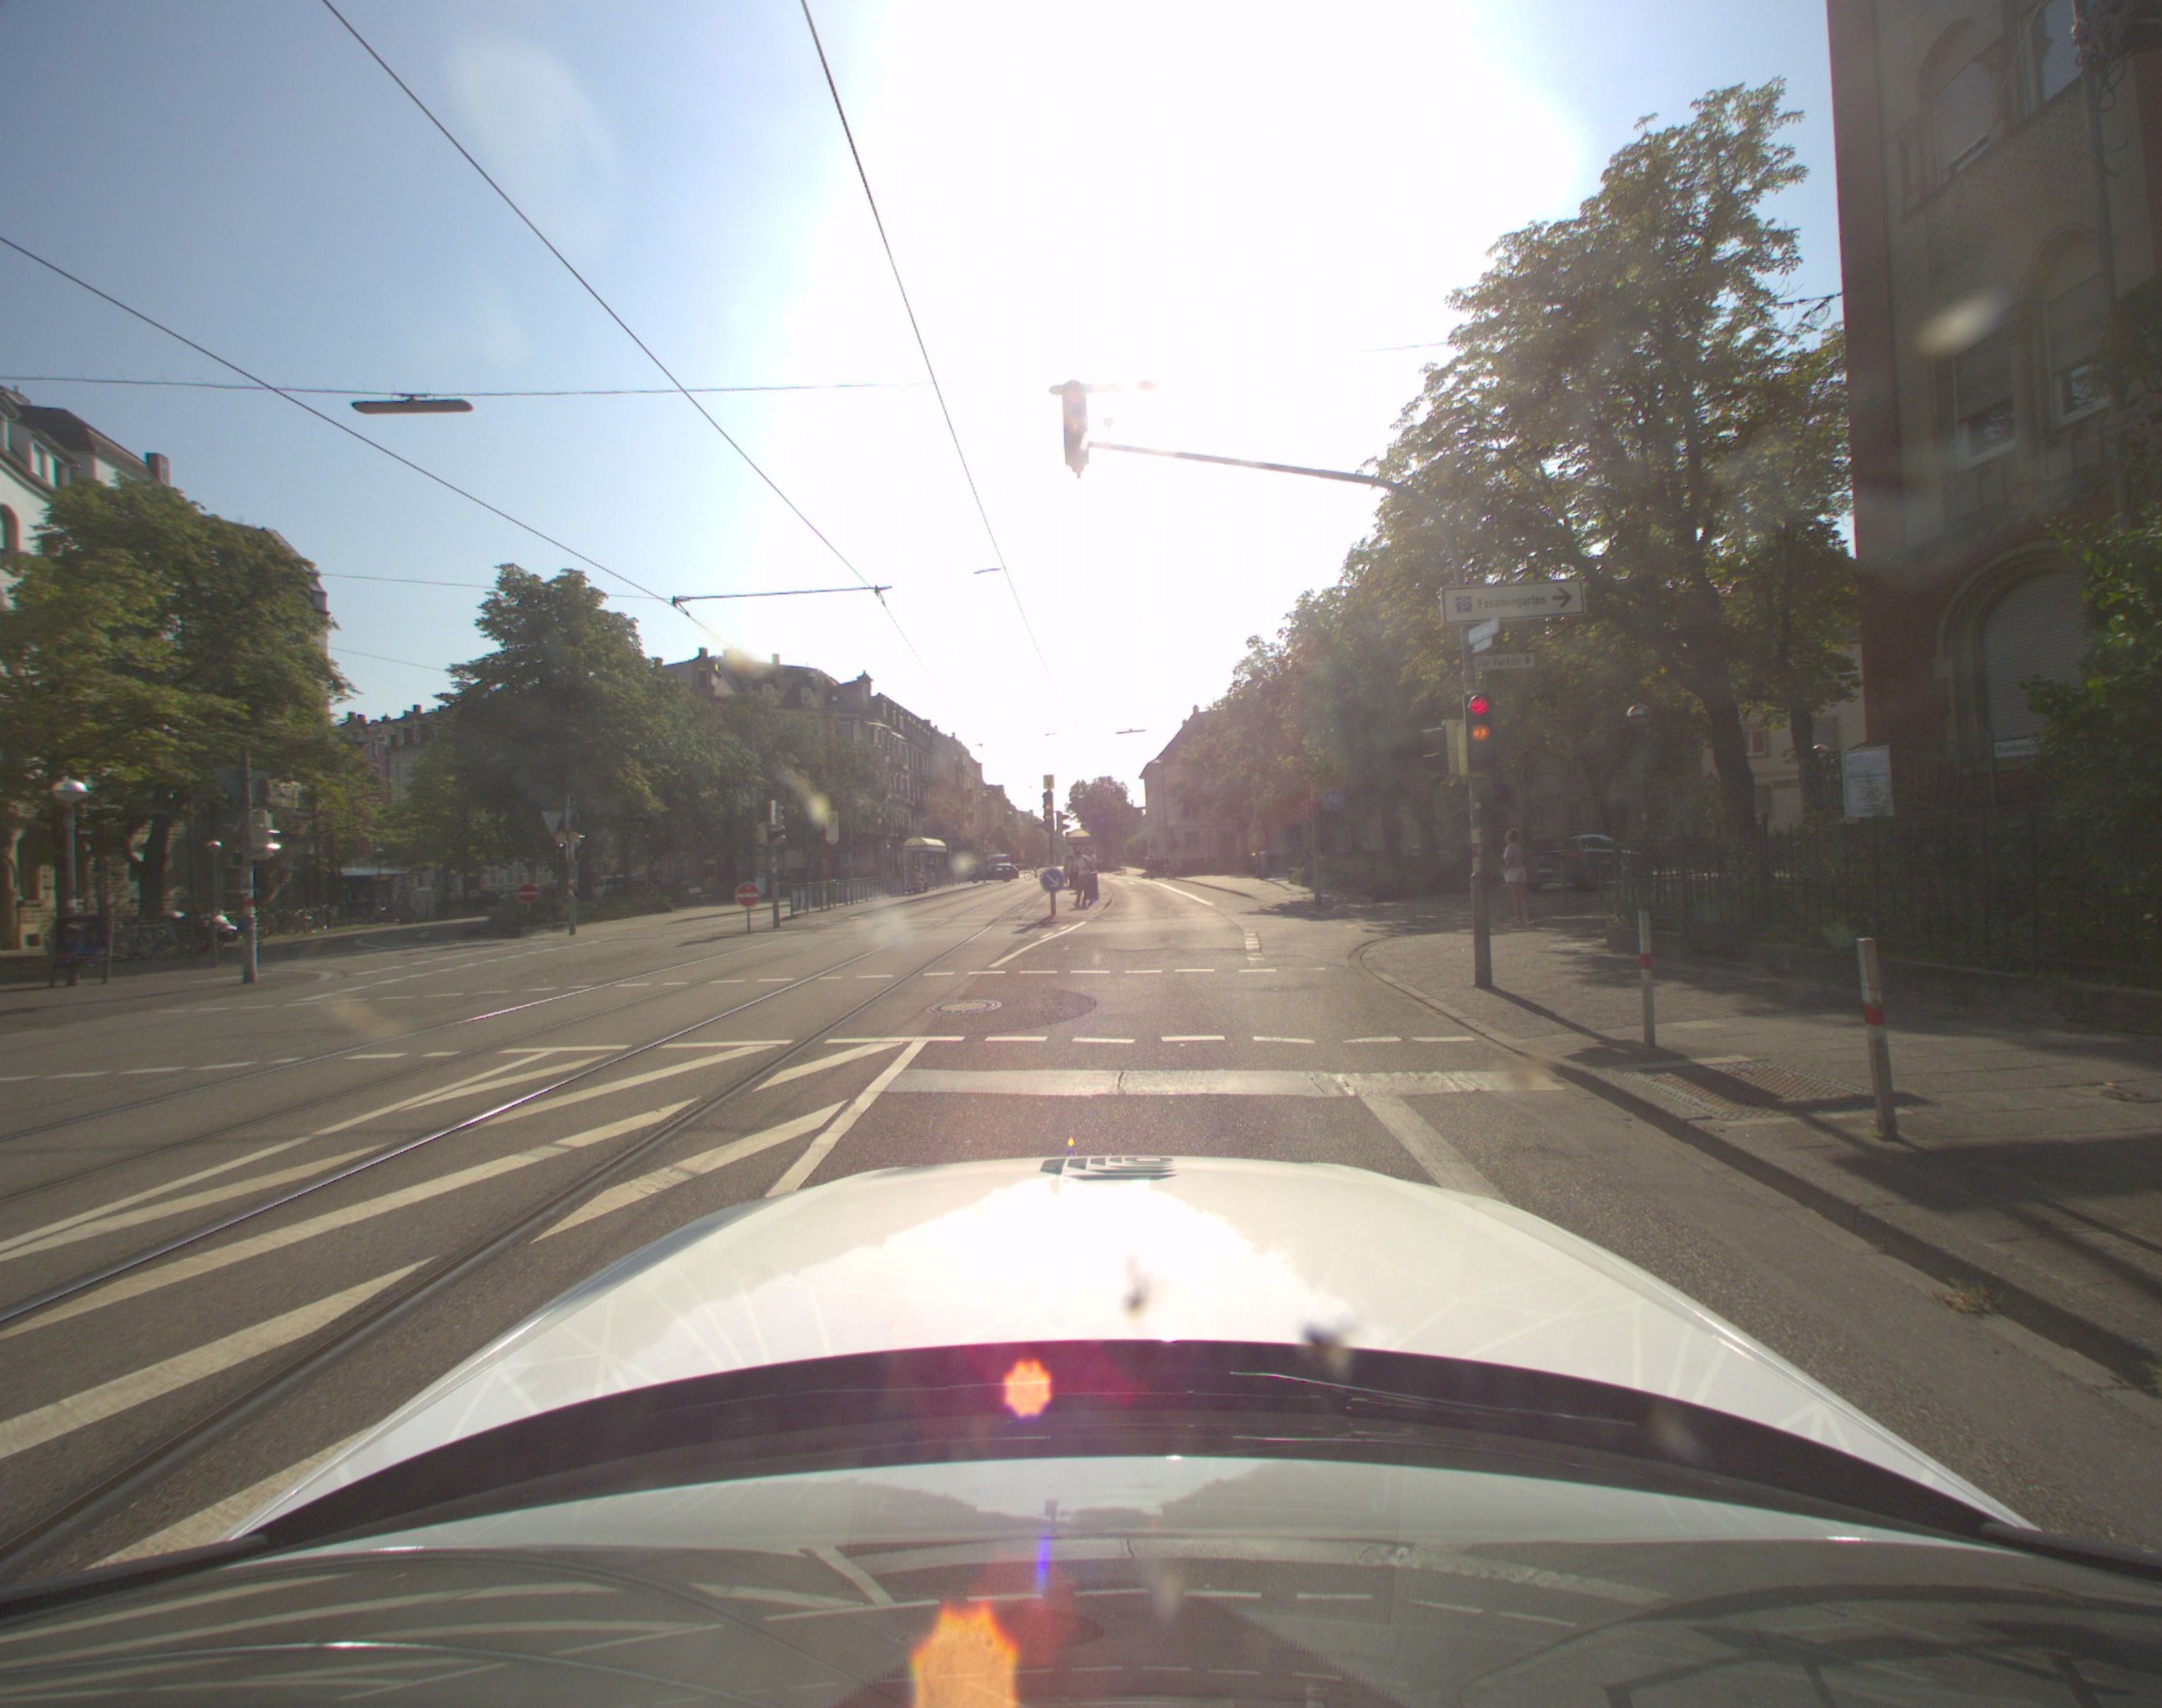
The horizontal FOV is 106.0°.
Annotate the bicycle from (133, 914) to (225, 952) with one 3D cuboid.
[{"bbox_3d":[-27.614,2.414,24.971,1.814,0.983,0.652,-1,-2,-40],"label":"bicycle"}]

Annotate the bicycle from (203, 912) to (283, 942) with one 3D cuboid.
[{"bbox_3d":[-30.835,2.660,29.989,1.919,0.935,0.730,-2,-1,-33],"label":"bicycle"}]

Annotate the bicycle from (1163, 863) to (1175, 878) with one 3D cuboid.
[{"bbox_3d":[6.165,1.169,56.942,0.556,0.978,1.856,-3,0,0],"label":"bicycle"}]

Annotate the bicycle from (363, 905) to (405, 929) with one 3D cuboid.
[{"bbox_3d":[-33.274,2.993,38.920,0.423,0.978,1.770,-3,0,1],"label":"bicycle"}]

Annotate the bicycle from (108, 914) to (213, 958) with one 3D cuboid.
[{"bbox_3d":[-25.921,2.293,22.979,1.887,1.034,0.563,-2,-2,-38],"label":"bicycle"}]

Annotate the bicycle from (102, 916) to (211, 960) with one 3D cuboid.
[{"bbox_3d":[-24.873,2.242,21.940,0.562,1.003,1.890,-3,-1,37],"label":"bicycle"}]

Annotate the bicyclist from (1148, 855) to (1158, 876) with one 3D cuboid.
[{"bbox_3d":[5.271,0.862,59.628,0.627,1.507,0.678,-3,-1,-1],"label":"bicyclist"}]

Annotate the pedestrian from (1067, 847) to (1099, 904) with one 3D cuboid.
[{"bbox_3d":[0.064,0.652,25.661,0.693,1.725,0.753,1,2,34],"label":"pedestrian"}]

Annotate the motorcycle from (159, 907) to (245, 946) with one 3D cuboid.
[{"bbox_3d":[-29.973,2.454,27.806,1.882,1.154,0.601,-2,-1,-33],"label":"motorcycle"}]

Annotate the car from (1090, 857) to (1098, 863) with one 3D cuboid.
[{"bbox_3d":[3.986,1.839,257.578,1.982,1.783,4.009,-2,-1,8],"label":"car"}]

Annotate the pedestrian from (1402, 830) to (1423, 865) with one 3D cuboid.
[{"bbox_3d":[16.924,-0.327,41.591,0.883,1.740,0.780,-3,-1,20],"label":"pedestrian"}]

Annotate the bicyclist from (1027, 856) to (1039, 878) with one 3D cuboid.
[{"bbox_3d":[-4.197,1.145,71.231,0.984,1.857,0.493,-3,-1,-2],"label":"bicyclist"}]

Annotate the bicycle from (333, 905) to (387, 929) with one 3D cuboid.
[{"bbox_3d":[-34.507,3.027,38.996,1.772,0.978,0.601,-3,0,-22],"label":"bicycle"}]

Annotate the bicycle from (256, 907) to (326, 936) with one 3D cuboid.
[{"bbox_3d":[-31.745,2.698,32.766,1.908,0.980,0.679,-2,-1,-33],"label":"bicycle"}]

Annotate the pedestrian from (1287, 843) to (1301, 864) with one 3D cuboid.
[{"bbox_3d":[18.279,-0.022,69.943,0.882,1.740,0.781,-3,-1,34],"label":"pedestrian"}]

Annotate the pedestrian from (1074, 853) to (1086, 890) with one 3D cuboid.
[{"bbox_3d":[-0.036,0.861,39.451,0.541,1.759,0.534,0,2,1],"label":"pedestrian"}]

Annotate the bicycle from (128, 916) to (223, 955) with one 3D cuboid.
[{"bbox_3d":[-26.768,2.392,24.122,1.814,0.984,0.563,-1,-2,-40],"label":"bicycle"}]

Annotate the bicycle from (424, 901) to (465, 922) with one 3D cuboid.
[{"bbox_3d":[-33.479,3.034,42.827,1.754,0.978,0.607,-3,-1,8],"label":"bicycle"}]

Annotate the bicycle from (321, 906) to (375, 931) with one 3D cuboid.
[{"bbox_3d":[-34.389,3.022,38.218,1.771,0.978,0.516,-3,-1,-21],"label":"bicycle"}]

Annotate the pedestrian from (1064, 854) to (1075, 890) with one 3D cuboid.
[{"bbox_3d":[-0.563,0.890,40.878,0.530,1.759,0.545,0,2,2],"label":"pedestrian"}]

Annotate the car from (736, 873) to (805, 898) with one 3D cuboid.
[{"bbox_3d":[-22.904,2.310,60.160,4.359,1.569,1.976,-2,-1,-41],"label":"car"}]

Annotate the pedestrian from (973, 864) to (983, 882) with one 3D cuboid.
[{"bbox_3d":[-10.534,1.932,83.383,0.747,1.731,0.772,-3,-1,3],"label":"pedestrian"}]

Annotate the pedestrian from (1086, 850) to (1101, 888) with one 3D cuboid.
[{"bbox_3d":[0.596,0.715,38.823,0.706,1.759,0.534,0,2,1],"label":"pedestrian"}]

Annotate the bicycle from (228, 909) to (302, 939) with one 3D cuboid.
[{"bbox_3d":[-31.419,2.676,31.400,1.908,0.980,0.679,-2,-1,-33],"label":"bicycle"}]

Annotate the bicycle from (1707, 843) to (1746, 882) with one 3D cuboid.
[{"bbox_3d":[17.776,0.229,22.405,1.779,0.978,0.421,-3,-1,-39],"label":"bicycle"}]

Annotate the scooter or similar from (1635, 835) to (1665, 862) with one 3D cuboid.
[{"bbox_3d":[27.481,-0.267,39.362,1.059,1.197,0.463,-7,-1,33],"label":"scooter or similar"}]

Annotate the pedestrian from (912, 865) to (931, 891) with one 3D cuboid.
[{"bbox_3d":[-8.475,1.284,43.391,0.826,1.359,0.775,-3,-1,-4],"label":"pedestrian"}]

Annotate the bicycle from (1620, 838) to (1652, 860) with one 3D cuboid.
[{"bbox_3d":[28.320,-0.259,41.559,1.555,1.038,0.423,-3,-1,-18],"label":"bicycle"}]

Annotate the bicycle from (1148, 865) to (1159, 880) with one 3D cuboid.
[{"bbox_3d":[5.289,1.352,59.625,0.627,0.978,1.770,-3,0,0],"label":"bicycle"}]

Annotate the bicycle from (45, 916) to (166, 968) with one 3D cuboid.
[{"bbox_3d":[-24.734,2.208,20.696,0.563,1.113,1.888,-3,-1,22],"label":"bicycle"}]

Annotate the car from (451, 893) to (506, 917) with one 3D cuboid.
[{"bbox_3d":[-51.419,4.366,69.512,3.952,1.828,2.011,-3,0,22],"label":"car"}]

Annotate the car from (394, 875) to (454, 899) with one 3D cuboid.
[{"bbox_3d":[-57.928,2.916,71.836,3.959,1.828,2.007,-3,0,13],"label":"car"}]

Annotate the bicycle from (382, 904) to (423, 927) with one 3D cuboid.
[{"bbox_3d":[-32.894,2.988,39.503,0.423,0.978,1.770,-3,0,1],"label":"bicycle"}]

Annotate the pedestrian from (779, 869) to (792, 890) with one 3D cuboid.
[{"bbox_3d":[-24.329,2.095,67.002,0.775,1.731,0.744,-2,-1,-37],"label":"pedestrian"}]

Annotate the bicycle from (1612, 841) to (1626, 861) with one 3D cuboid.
[{"bbox_3d":[27.395,-0.151,41.455,0.420,0.978,1.566,-3,-1,39],"label":"bicycle"}]

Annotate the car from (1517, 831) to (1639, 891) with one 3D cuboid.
[{"bbox_3d":[14.696,0.165,24.002,4.248,1.515,1.594,-3,0,-37],"label":"car"}]

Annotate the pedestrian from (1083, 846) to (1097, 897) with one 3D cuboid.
[{"bbox_3d":[0.324,0.633,29.924,0.502,1.834,0.534,0,2,1],"label":"pedestrian"}]

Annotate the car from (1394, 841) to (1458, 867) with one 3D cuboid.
[{"bbox_3d":[21.168,0.041,50.168,1.752,1.428,4.134,-3,0,-8],"label":"car"}]

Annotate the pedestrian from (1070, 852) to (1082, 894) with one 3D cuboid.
[{"bbox_3d":[-0.216,0.819,34.636,0.502,1.759,0.534,0,2,1],"label":"pedestrian"}]

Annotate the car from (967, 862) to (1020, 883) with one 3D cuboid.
[{"bbox_3d":[-7.389,1.558,68.409,4.322,1.569,1.993,-3,-1,-10],"label":"car"}]

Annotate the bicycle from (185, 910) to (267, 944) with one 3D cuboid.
[{"bbox_3d":[-30.258,2.573,28.860,1.885,1.027,0.657,-2,-1,-33],"label":"bicycle"}]

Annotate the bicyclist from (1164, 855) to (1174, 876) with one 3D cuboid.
[{"bbox_3d":[6.141,0.800,56.960,0.556,1.417,0.871,-3,0,-1],"label":"bicyclist"}]

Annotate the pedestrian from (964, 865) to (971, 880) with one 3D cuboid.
[{"bbox_3d":[-13.165,2.145,94.583,0.749,1.731,0.769,-3,-1,-8],"label":"pedestrian"}]

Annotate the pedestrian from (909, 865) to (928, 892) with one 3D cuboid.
[{"bbox_3d":[-8.473,1.274,42.414,0.826,1.359,0.775,-3,-1,-4],"label":"pedestrian"}]

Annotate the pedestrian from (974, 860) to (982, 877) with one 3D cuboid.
[{"bbox_3d":[-10.826,1.516,85.542,0.749,1.731,0.769,-3,-1,-8],"label":"pedestrian"}]

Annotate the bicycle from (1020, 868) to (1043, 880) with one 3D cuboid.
[{"bbox_3d":[-4.303,1.774,71.217,1.931,0.978,0.496,-3,-1,-2],"label":"bicycle"}]

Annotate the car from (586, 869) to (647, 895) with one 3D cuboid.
[{"bbox_3d":[-35.989,2.183,63.053,3.952,1.828,2.011,-3,0,22],"label":"car"}]

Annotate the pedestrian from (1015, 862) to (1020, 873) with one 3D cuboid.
[{"bbox_3d":[-10.258,2.113,131.407,0.749,1.731,0.769,-3,-1,-8],"label":"pedestrian"}]

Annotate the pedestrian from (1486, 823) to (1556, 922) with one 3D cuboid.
[{"bbox_3d":[8.095,0.334,14.999,0.749,1.731,0.769,-3,-1,-8],"label":"pedestrian"}]

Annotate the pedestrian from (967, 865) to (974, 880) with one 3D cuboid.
[{"bbox_3d":[-13.246,2.167,97.530,0.749,1.731,0.769,-3,-1,-8],"label":"pedestrian"}]

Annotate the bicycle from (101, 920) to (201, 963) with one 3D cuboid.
[{"bbox_3d":[-23.838,2.228,20.907,0.473,0.920,1.619,-3,-1,31],"label":"bicycle"}]

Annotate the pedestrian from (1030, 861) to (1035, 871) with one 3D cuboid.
[{"bbox_3d":[-8.594,2.064,145.320,0.749,1.731,0.769,-3,-1,-8],"label":"pedestrian"}]

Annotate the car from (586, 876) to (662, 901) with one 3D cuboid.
[{"bbox_3d":[-32.599,2.448,58.137,4.295,1.569,2.006,-3,-1,10],"label":"car"}]

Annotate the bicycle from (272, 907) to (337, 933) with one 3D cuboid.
[{"bbox_3d":[-32.506,2.758,34.117,1.877,0.935,0.635,-2,-1,-17],"label":"bicycle"}]
